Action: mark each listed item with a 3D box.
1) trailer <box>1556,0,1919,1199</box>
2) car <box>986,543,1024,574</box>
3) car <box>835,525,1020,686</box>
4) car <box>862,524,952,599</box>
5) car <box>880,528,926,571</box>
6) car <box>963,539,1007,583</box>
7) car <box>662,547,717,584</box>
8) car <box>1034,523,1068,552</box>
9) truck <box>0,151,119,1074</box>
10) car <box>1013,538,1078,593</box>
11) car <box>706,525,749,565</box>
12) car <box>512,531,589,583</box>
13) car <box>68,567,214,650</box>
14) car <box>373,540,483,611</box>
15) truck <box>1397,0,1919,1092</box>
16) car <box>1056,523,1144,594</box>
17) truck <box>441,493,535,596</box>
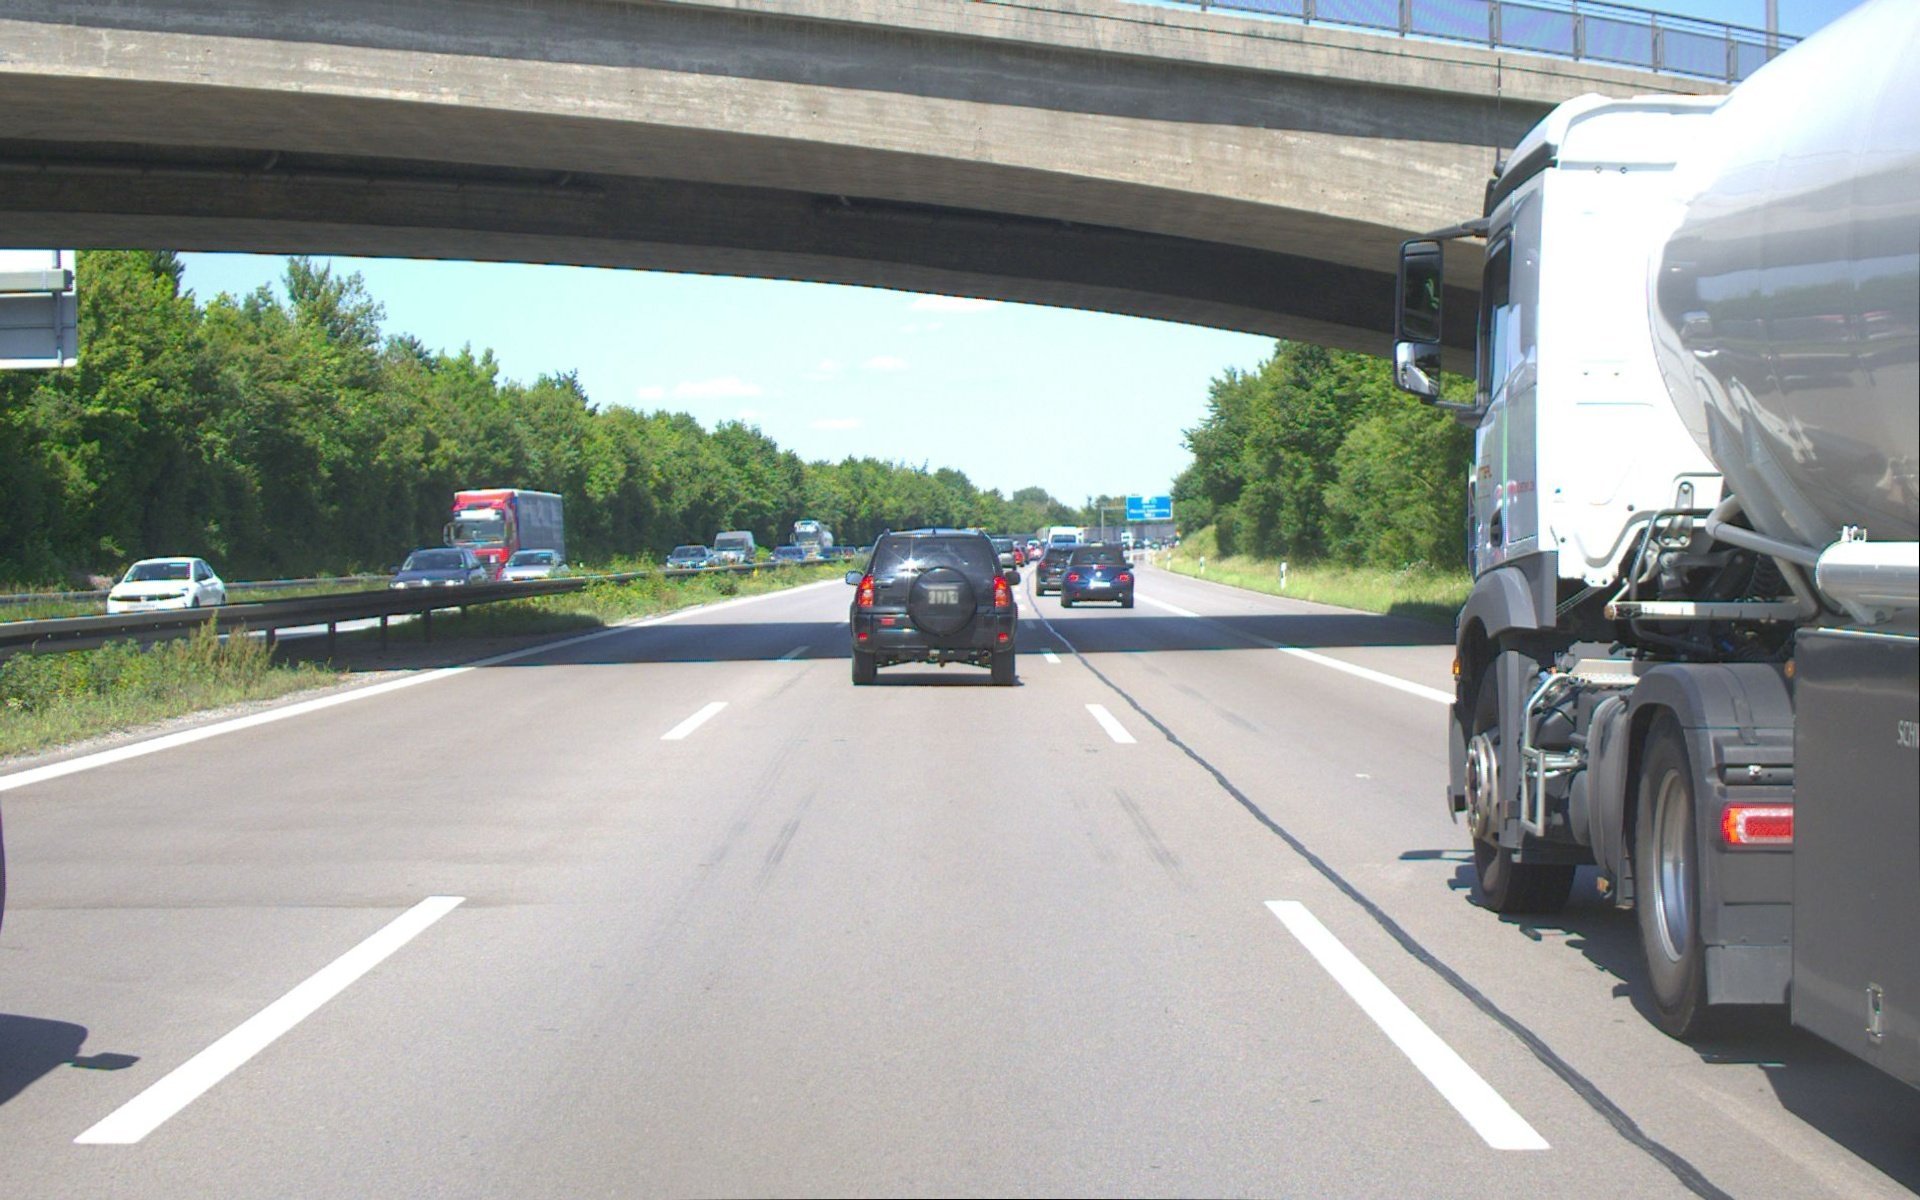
[{"bbox_3d":[3.461,-0.218,6.258,2.648,3.378,11.152,1,1,-1],"label":"trailer"},{"bbox_3d":[2.551,-2.392,196.752,1.993,1.744,4.205,-1,1,-1],"label":"car"},{"bbox_3d":[-0.410,0.031,37.683,1.906,1.659,4.000,0,1,-2],"label":"car"},{"bbox_3d":[-1.235,-0.921,81.738,1.993,1.700,4.336,-1,1,1],"label":"car"},{"bbox_3d":[-2.704,-2.413,164.351,1.993,2.007,4.950,-1,1,1],"label":"car"},{"bbox_3d":[1.158,-1.873,162.384,1.993,2.007,4.768,-1,1,-1],"label":"car"},{"bbox_3d":[-11.296,-1.450,143.783,1.882,1.478,4.434,-1,1,0],"label":"car"},{"bbox_3d":[5.587,-3.853,211.298,1.812,1.740,4.001,-1,1,-3],"label":"car"},{"bbox_3d":[-3.618,0.066,7.367,1.993,2.533,6.692,1,1,0],"label":"truck"},{"bbox_3d":[2.547,-1.036,103.767,1.842,1.606,4.000,0,0,0],"label":"car"},{"bbox_3d":[-13.553,-3.189,200.617,1.993,2.227,6.517,0,0,1],"label":"car"},{"bbox_3d":[-11.992,-1.277,100.806,1.682,1.476,4.348,-1,1,0],"label":"car"},{"bbox_3d":[-16.096,0.135,67.753,1.860,1.522,4.214,-1,1,0],"label":"car"},{"bbox_3d":[-11.871,-0.569,77.010,1.774,1.468,4.420,-3,1,-1],"label":"car"},{"bbox_3d":[3.381,-0.339,12.914,2.638,3.363,6.488,1,1,0],"label":"truck"},{"bbox_3d":[3.390,-0.987,84.075,1.993,1.678,4.000,0,0,0],"label":"car"},{"bbox_3d":[-19.422,-2.294,141.825,2.785,4.047,6.210,-2,1,1],"label":"truck"}]
